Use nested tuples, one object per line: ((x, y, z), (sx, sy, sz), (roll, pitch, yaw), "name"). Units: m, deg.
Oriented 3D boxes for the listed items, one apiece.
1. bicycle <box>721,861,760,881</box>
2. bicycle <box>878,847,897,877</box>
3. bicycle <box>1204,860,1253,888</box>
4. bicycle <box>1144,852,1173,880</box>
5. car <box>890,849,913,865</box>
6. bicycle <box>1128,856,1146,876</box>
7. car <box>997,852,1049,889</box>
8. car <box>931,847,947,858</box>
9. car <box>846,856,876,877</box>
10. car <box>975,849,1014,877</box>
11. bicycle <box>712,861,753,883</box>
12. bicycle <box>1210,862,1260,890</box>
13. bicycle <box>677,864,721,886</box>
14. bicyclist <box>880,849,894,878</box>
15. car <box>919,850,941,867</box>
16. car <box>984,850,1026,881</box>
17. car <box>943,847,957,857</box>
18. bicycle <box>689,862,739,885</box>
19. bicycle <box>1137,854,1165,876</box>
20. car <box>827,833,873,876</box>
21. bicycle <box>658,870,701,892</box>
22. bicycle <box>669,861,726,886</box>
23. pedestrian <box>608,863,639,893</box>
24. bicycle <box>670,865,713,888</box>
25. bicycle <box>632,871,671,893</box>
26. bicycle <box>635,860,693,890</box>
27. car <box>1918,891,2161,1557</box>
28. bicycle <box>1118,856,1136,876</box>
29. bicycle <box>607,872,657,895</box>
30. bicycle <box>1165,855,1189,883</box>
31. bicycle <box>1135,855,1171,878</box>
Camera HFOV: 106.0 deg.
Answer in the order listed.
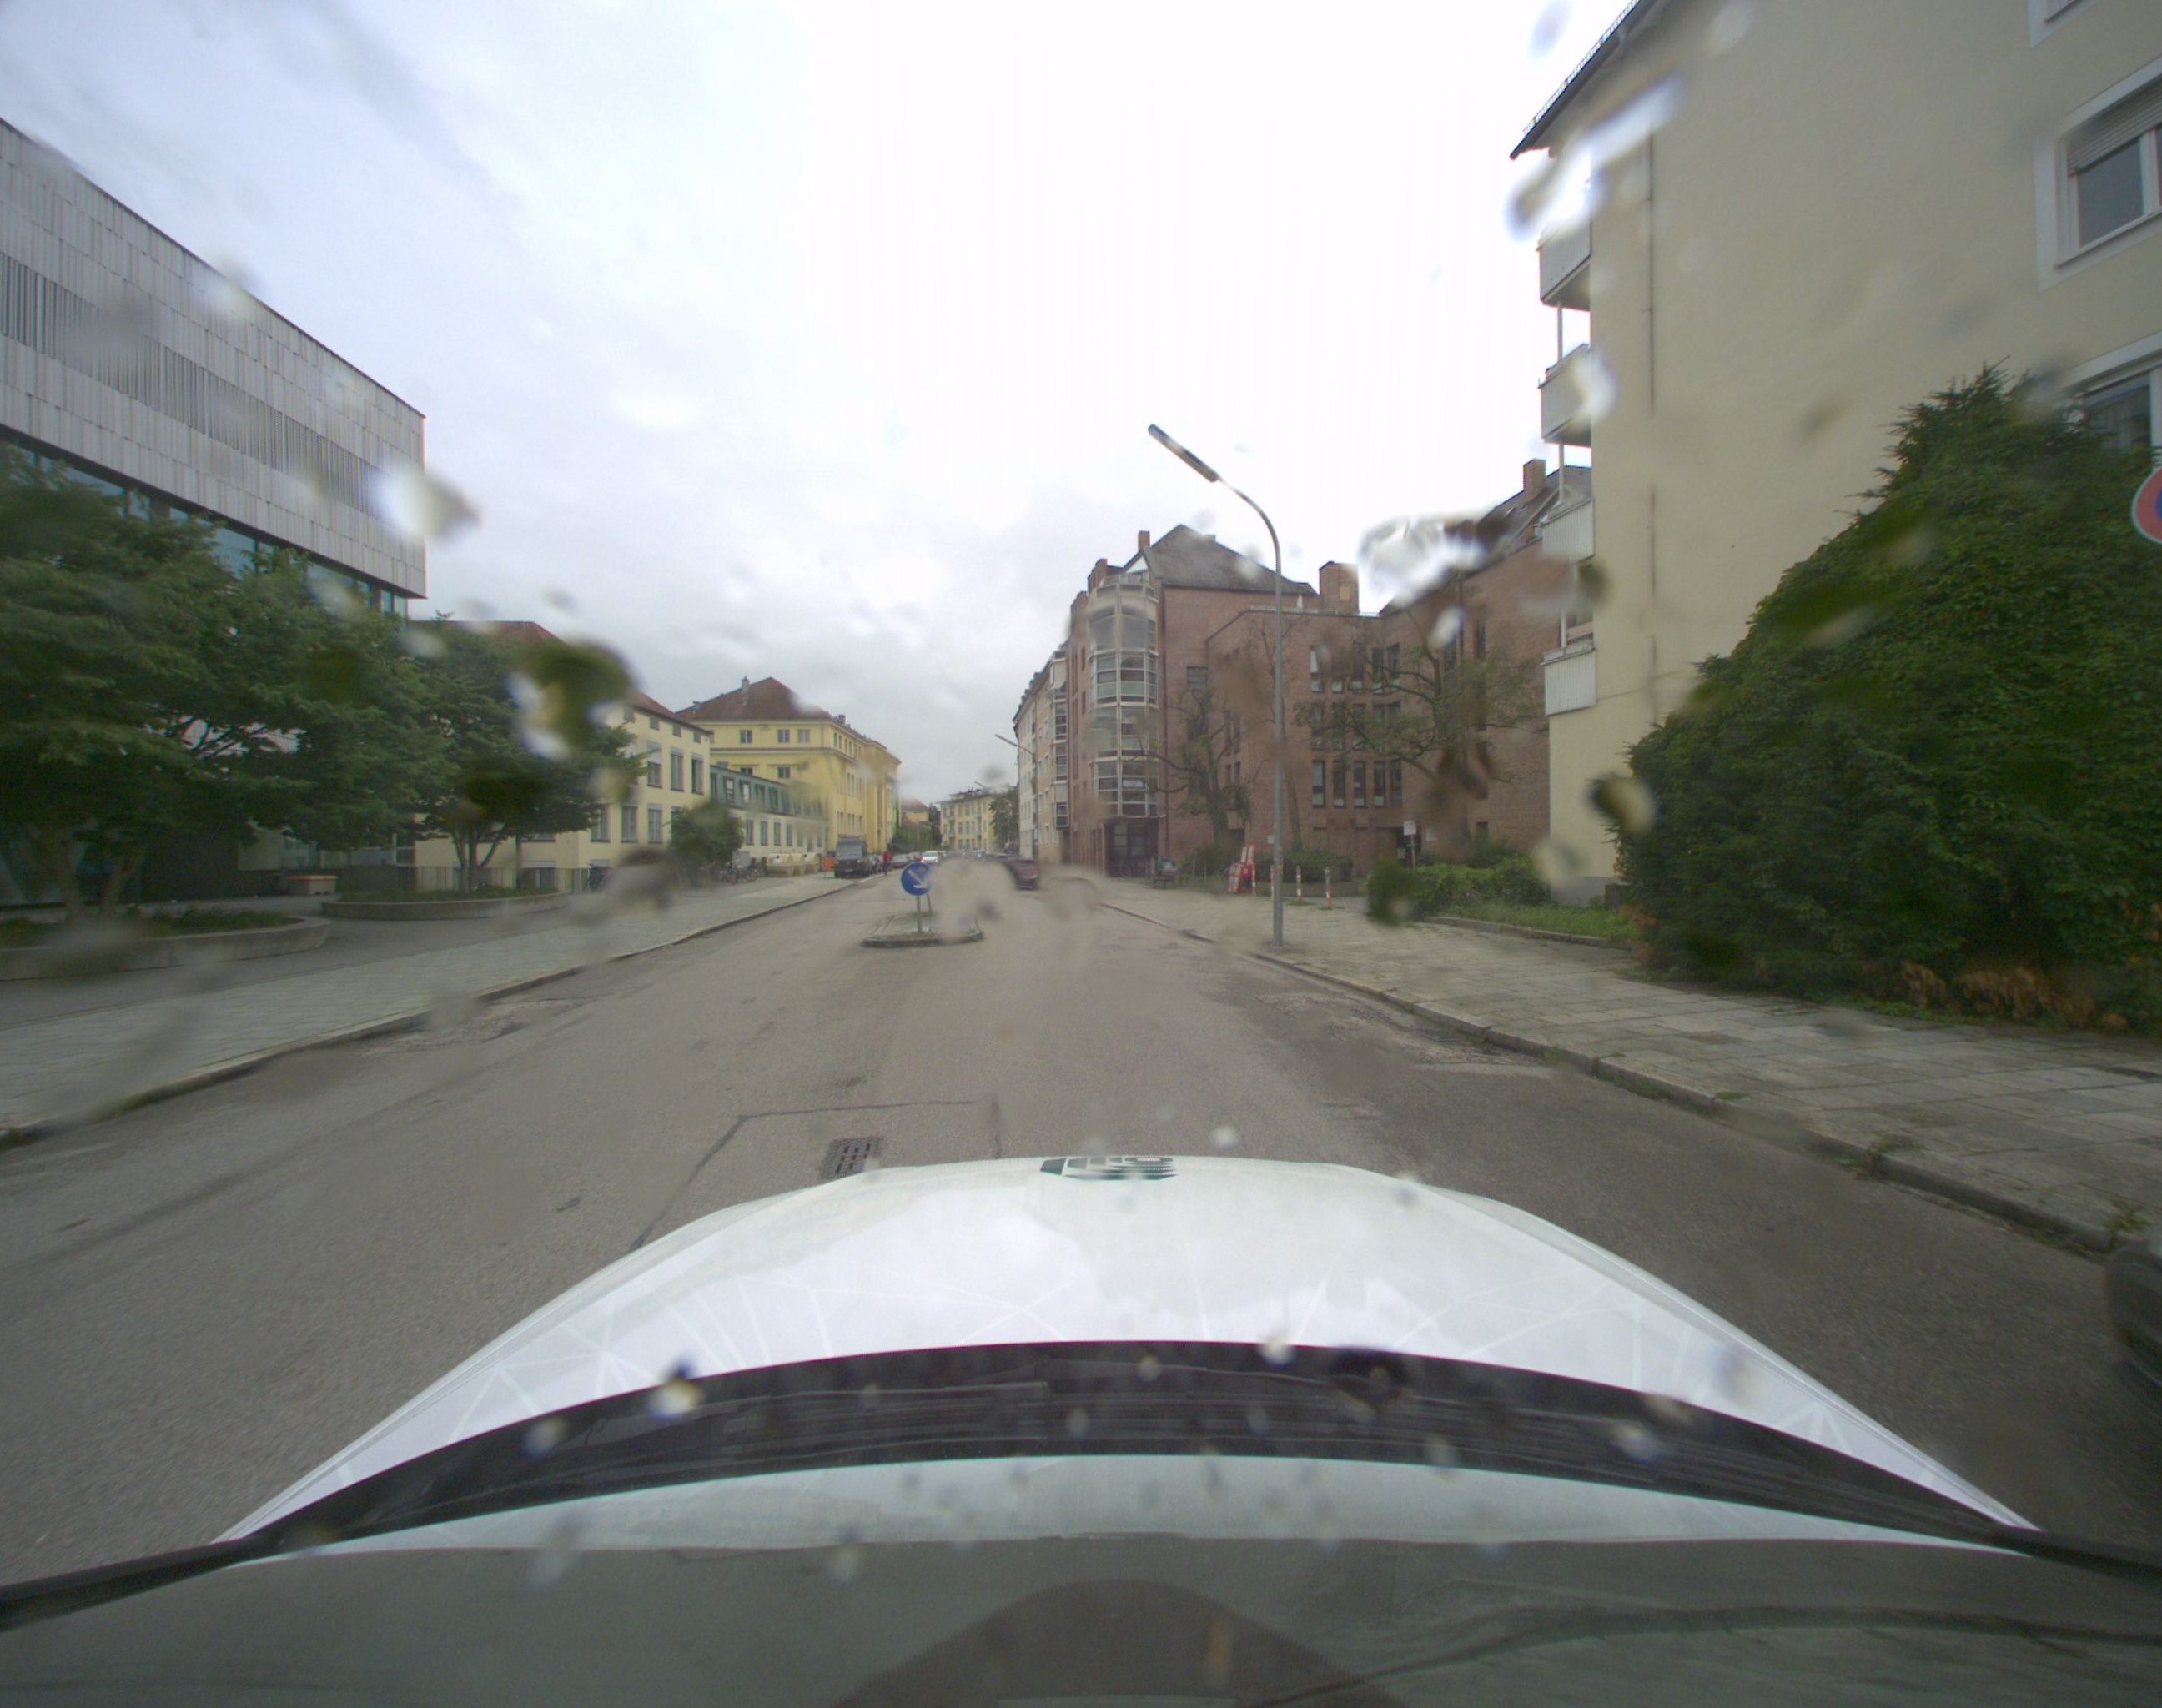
((-19.180, 0.948, 45.864), (1.898, 1.092, 0.678), (1, 1, 0), "bicycle")
((-13.730, 0.521, 57.772), (0.746, 2.013, 2.844), (-3, 1, -3), "bicycle")
((5.432, 0.728, 29.971), (1.700, 0.965, 0.544), (1, 1, -9), "bicycle")
((3.564, 0.575, 37.622), (0.535, 1.248, 2.401), (1, -1, -15), "bicycle")
((-18.005, 0.271, 81.824), (1.770, 1.550, 3.770), (1, 1, -7), "car")
((3.077, 0.645, 44.910), (0.486, 1.060, 1.988), (1, 0, -11), "bicycle")
((-2.691, 0.704, 36.790), (1.924, 1.512, 4.378), (1, 0, -9), "car")
((-20.859, -0.195, 119.899), (1.991, 1.548, 3.992), (1, 1, -6), "car")
((-17.100, 0.962, 63.482), (1.697, 1.453, 3.732), (1, 1, -7), "car")
((-5.608, 0.564, 52.200), (1.966, 1.602, 4.651), (1, 1, -13), "car")
((-18.903, 0.952, 44.227), (1.950, 1.131, 0.573), (1, 1, 0), "bicycle")
((5.540, 0.777, 29.346), (1.700, 0.965, 0.544), (1, 1, -9), "bicycle")
((-18.814, 1.043, 40.141), (1.860, 1.029, 0.540), (1, 1, 0), "bicycle")
((-13.760, 0.674, 57.787), (0.765, 2.013, 0.767), (-4, 1, -4), "bicyclist")
((-15.886, 0.464, 85.970), (2.025, 1.621, 4.492), (-2, -1, -8), "car")
((-4.458, 0.619, 47.298), (1.832, 1.602, 4.248), (1, 1, -13), "car")
((-21.399, -0.339, 133.365), (1.991, 1.548, 3.992), (1, 1, -6), "car")
((-18.724, 0.997, 41.571), (2.302, 1.135, 0.581), (1, 1, 0), "bicycle")
((3.755, 0.567, 43.745), (1.473, 1.147, 0.382), (1, 1, -4), "bicycle")
((-15.678, 0.062, 55.539), (2.422, 2.715, 5.931), (-2, 0, -11), "car")
((-18.324, 1.230, 37.203), (1.669, 0.916, 0.595), (1, 1, 0), "bicycle")
((-18.616, 0.944, 39.508), (2.545, 1.206, 0.424), (-1, 1, 0), "bicycle")
((-18.833, 0.992, 33.536), (0.717, 1.163, 1.039), (1, 1, -4), "pedestrian")
((-18.530, 1.059, 38.772), (1.784, 1.033, 0.507), (1, 1, 0), "bicycle")
((-17.865, 1.169, 33.895), (1.369, 0.862, 0.439), (1, 1, -3), "bicycle")
((-18.261, 0.911, 35.674), (2.097, 1.227, 0.787), (1, 1, 0), "bicycle")
((3.409, 0.796, 0.334), (1.754, 1.396, 4.032), (1, -1, -9), "car")
((2.511, 0.662, 44.821), (0.486, 1.060, 1.988), (1, -1, -11), "bicycle")
((-18.084, 1.192, 32.806), (1.715, 0.862, 0.439), (1, 1, -3), "bicycle")
((4.246, 0.644, 35.883), (0.416, 1.173, 1.370), (2, 1, 35), "bicycle")
((3.812, 0.658, 43.292), (1.844, 1.147, 0.487), (1, 1, -4), "bicycle")
